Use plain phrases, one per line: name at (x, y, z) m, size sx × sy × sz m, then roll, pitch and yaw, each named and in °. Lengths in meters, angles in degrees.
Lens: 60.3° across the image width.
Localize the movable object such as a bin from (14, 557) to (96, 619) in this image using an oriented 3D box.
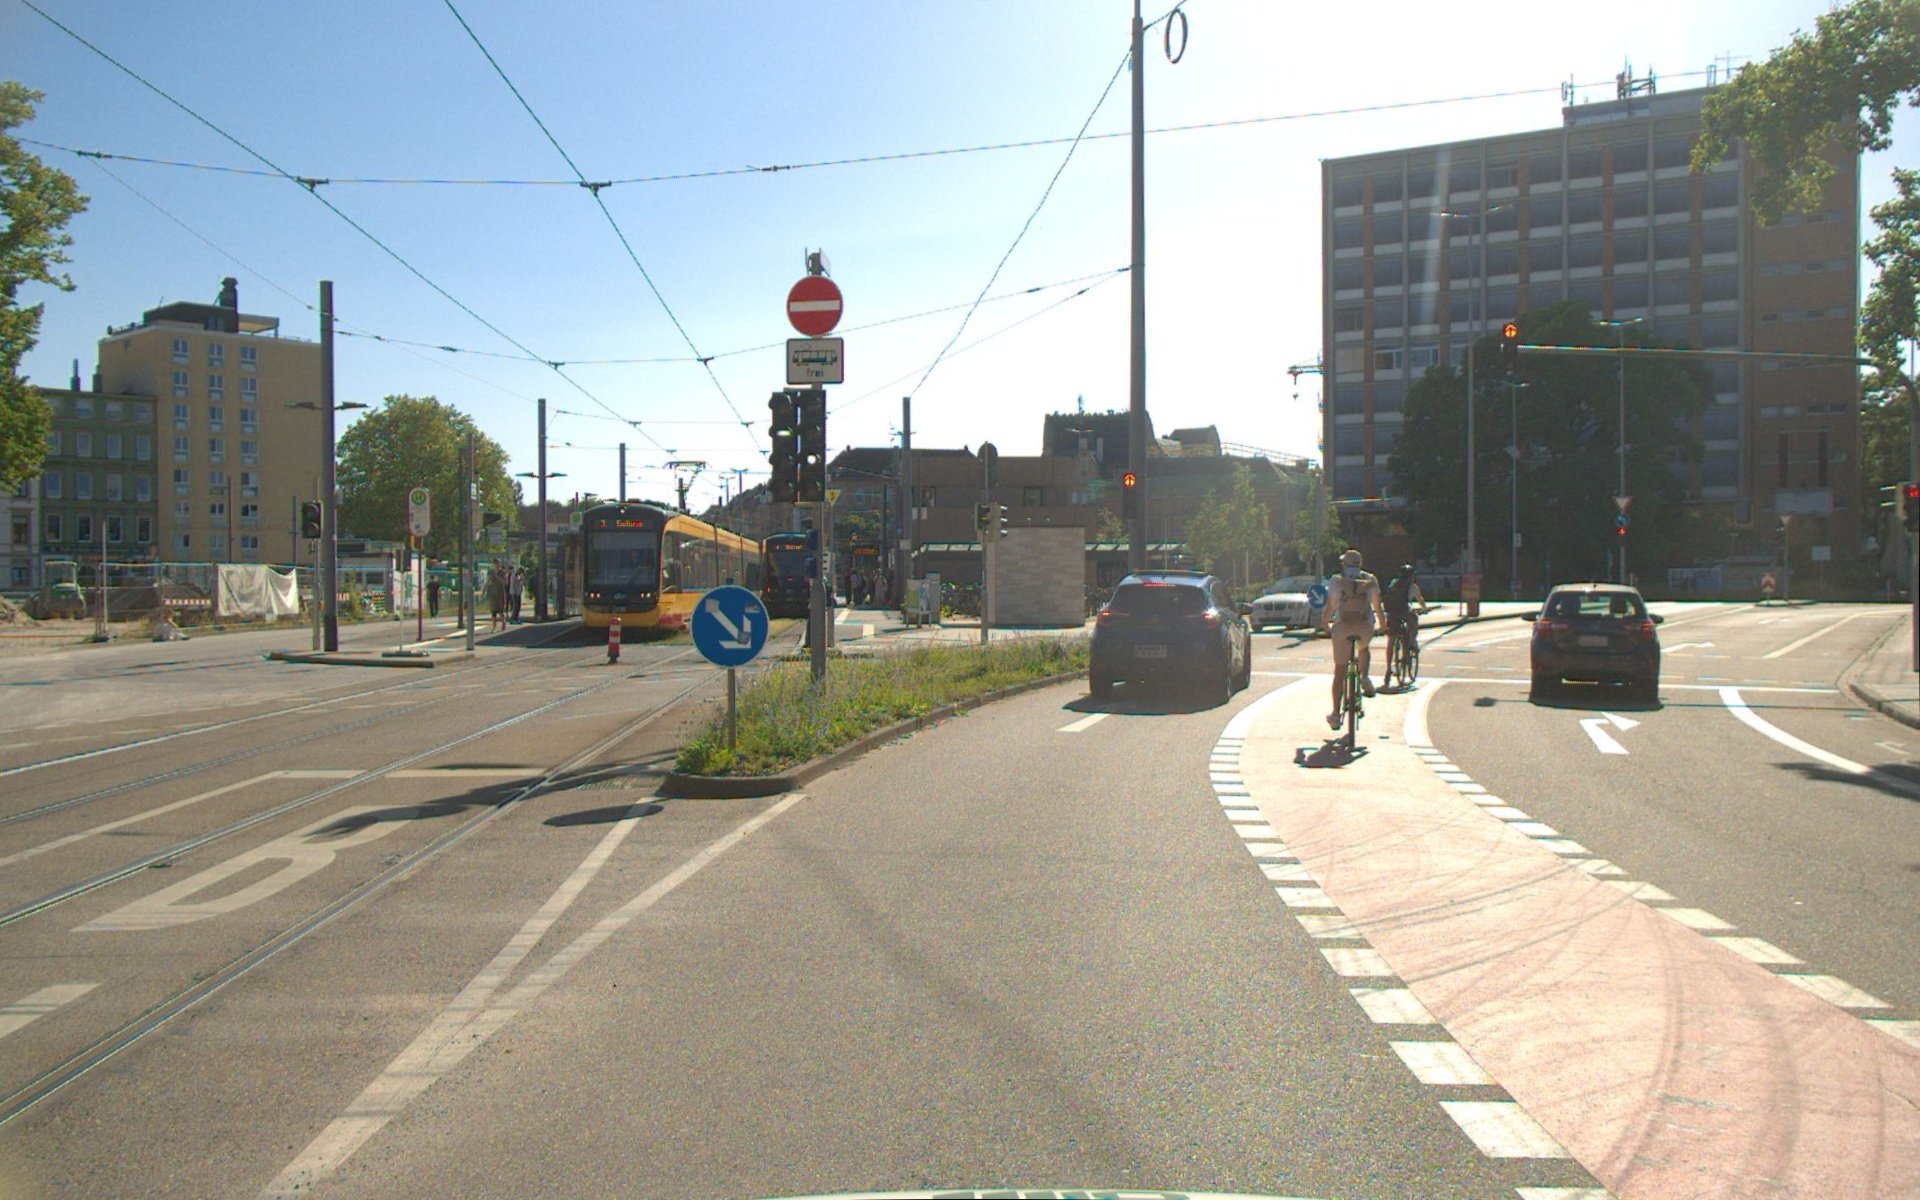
movable object such as a bin at (-42.899, -0.579, 78.347) m, size 3.918 × 2.845 × 1.827 m, roll 1°, pitch -1°, yaw 35°

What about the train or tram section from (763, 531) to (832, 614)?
train or tram section at (-7.444, -1.254, 76.902) m, size 2.814 × 3.569 × 10.535 m, roll 0°, pitch 1°, yaw -4°

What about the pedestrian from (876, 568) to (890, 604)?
pedestrian at (-4.055, -0.747, 87.502) m, size 0.659 × 1.889 × 0.703 m, roll 1°, pitch -1°, yaw 1°

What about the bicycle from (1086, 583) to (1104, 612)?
bicycle at (5.260, -0.085, 64.306) m, size 0.568 × 1.107 × 2.059 m, roll 1°, pitch 0°, yaw 1°

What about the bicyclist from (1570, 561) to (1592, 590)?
bicyclist at (39.624, -1.588, 105.592) m, size 1.137 × 1.829 × 0.881 m, roll 1°, pitch -1°, yaw 35°

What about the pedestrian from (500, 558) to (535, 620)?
pedestrian at (-13.123, -0.327, 49.076) m, size 0.851 × 1.798 × 0.966 m, roll -1°, pitch 1°, yaw -25°

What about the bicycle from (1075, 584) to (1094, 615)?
bicycle at (4.386, -0.010, 58.326) m, size 0.568 × 1.076 × 1.817 m, roll 1°, pitch 0°, yaw 1°

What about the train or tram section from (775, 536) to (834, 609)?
train or tram section at (-8.118, -1.420, 87.348) m, size 2.814 × 3.569 × 10.535 m, roll 0°, pitch 1°, yaw -4°

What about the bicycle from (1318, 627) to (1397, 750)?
bicycle at (3.902, 0.824, 16.158) m, size 0.649 × 1.065 × 1.891 m, roll 0°, pitch 1°, yaw 17°

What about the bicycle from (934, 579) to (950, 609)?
bicycle at (-0.676, -0.209, 62.546) m, size 0.554 × 1.112 × 2.029 m, roll 1°, pitch 0°, yaw 0°

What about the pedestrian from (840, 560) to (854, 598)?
pedestrian at (-5.911, -1.100, 86.412) m, size 0.725 × 1.951 × 0.741 m, roll 1°, pitch -1°, yaw -4°

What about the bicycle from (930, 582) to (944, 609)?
bicycle at (-0.957, -0.187, 69.014) m, size 0.554 × 1.112 × 2.029 m, roll 1°, pitch 0°, yaw 0°

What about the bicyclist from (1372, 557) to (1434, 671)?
bicyclist at (6.625, 0.194, 24.713) m, size 0.707 × 1.654 × 1.054 m, roll 1°, pitch 1°, yaw 24°

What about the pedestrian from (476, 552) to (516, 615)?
pedestrian at (-15.290, -0.526, 54.543) m, size 0.941 × 2.049 × 0.999 m, roll 1°, pitch -1°, yaw 3°

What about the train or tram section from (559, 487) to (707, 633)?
train or tram section at (-8.894, -1.060, 46.193) m, size 2.762 × 3.569 × 10.471 m, roll -1°, pitch 1°, yaw -4°

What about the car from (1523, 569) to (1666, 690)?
car at (8.946, 0.360, 23.551) m, size 1.719 × 1.568 × 3.660 m, roll 1°, pitch 1°, yaw 19°

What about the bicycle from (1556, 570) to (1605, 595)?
bicycle at (39.616, -1.146, 105.596) m, size 2.754 × 1.568 × 0.881 m, roll 1°, pitch -1°, yaw 36°

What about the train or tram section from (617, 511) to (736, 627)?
train or tram section at (-9.529, -1.042, 56.743) m, size 2.760 × 3.569 × 10.605 m, roll 1°, pitch 1°, yaw -3°

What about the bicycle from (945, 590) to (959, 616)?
bicycle at (-0.322, 0.107, 64.233) m, size 0.413 × 0.954 × 1.305 m, roll 1°, pitch 0°, yaw -5°

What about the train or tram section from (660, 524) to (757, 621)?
train or tram section at (-10.108, -1.100, 67.587) m, size 2.760 × 3.569 × 11.204 m, roll 1°, pitch 1°, yaw -3°

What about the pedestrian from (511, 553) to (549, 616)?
pedestrian at (-14.300, -0.504, 55.050) m, size 0.941 × 2.049 × 0.999 m, roll 1°, pitch -1°, yaw 3°

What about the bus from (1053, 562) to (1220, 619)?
bus at (11.226, -0.602, 106.897) m, size 2.855 × 3.455 × 12.269 m, roll 1°, pitch 0°, yaw -39°

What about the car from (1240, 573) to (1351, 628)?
car at (9.105, -0.017, 44.658) m, size 1.766 × 1.417 × 4.085 m, roll 0°, pitch 1°, yaw 30°

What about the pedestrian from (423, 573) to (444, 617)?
pedestrian at (-21.986, -0.220, 69.115) m, size 0.654 × 1.798 × 0.799 m, roll -1°, pitch 0°, yaw -5°

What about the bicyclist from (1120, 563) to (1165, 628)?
bicyclist at (4.786, -0.118, 43.343) m, size 0.862 × 1.673 × 1.060 m, roll -1°, pitch 0°, yaw 24°

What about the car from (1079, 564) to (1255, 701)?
car at (2.833, 0.362, 22.015) m, size 1.784 × 1.627 × 3.661 m, roll 1°, pitch 1°, yaw 16°

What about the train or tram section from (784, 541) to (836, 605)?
train or tram section at (-8.795, -1.567, 97.883) m, size 2.814 × 3.569 × 10.536 m, roll 0°, pitch 1°, yaw -4°

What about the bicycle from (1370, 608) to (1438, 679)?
bicycle at (6.710, 0.639, 24.933) m, size 0.708 × 0.976 × 1.883 m, roll 1°, pitch 1°, yaw 24°

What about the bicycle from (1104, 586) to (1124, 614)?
bicycle at (5.432, 0.008, 58.519) m, size 0.568 × 0.978 × 2.059 m, roll 1°, pitch 0°, yaw 1°

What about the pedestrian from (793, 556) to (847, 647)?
pedestrian at (-2.923, 0.035, 34.467) m, size 0.999 × 1.864 × 0.758 m, roll 1°, pitch -1°, yaw -14°

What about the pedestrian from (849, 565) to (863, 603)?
pedestrian at (-5.165, -0.789, 81.906) m, size 0.620 × 1.889 × 0.701 m, roll 1°, pitch -1°, yaw -9°

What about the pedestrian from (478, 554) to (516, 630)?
pedestrian at (-11.740, -0.203, 41.951) m, size 0.747 × 1.882 × 0.901 m, roll 0°, pitch 3°, yaw -5°

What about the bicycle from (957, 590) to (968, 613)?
bicycle at (0.104, 0.059, 69.264) m, size 0.413 × 0.954 × 1.379 m, roll 1°, pitch 0°, yaw -1°

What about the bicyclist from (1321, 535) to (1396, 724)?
bicyclist at (3.900, 0.268, 16.140) m, size 0.649 × 1.778 × 1.006 m, roll 0°, pitch 1°, yaw 17°

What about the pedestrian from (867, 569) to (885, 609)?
pedestrian at (-4.021, -0.515, 79.012) m, size 0.831 × 1.916 × 0.760 m, roll 1°, pitch -1°, yaw -5°
